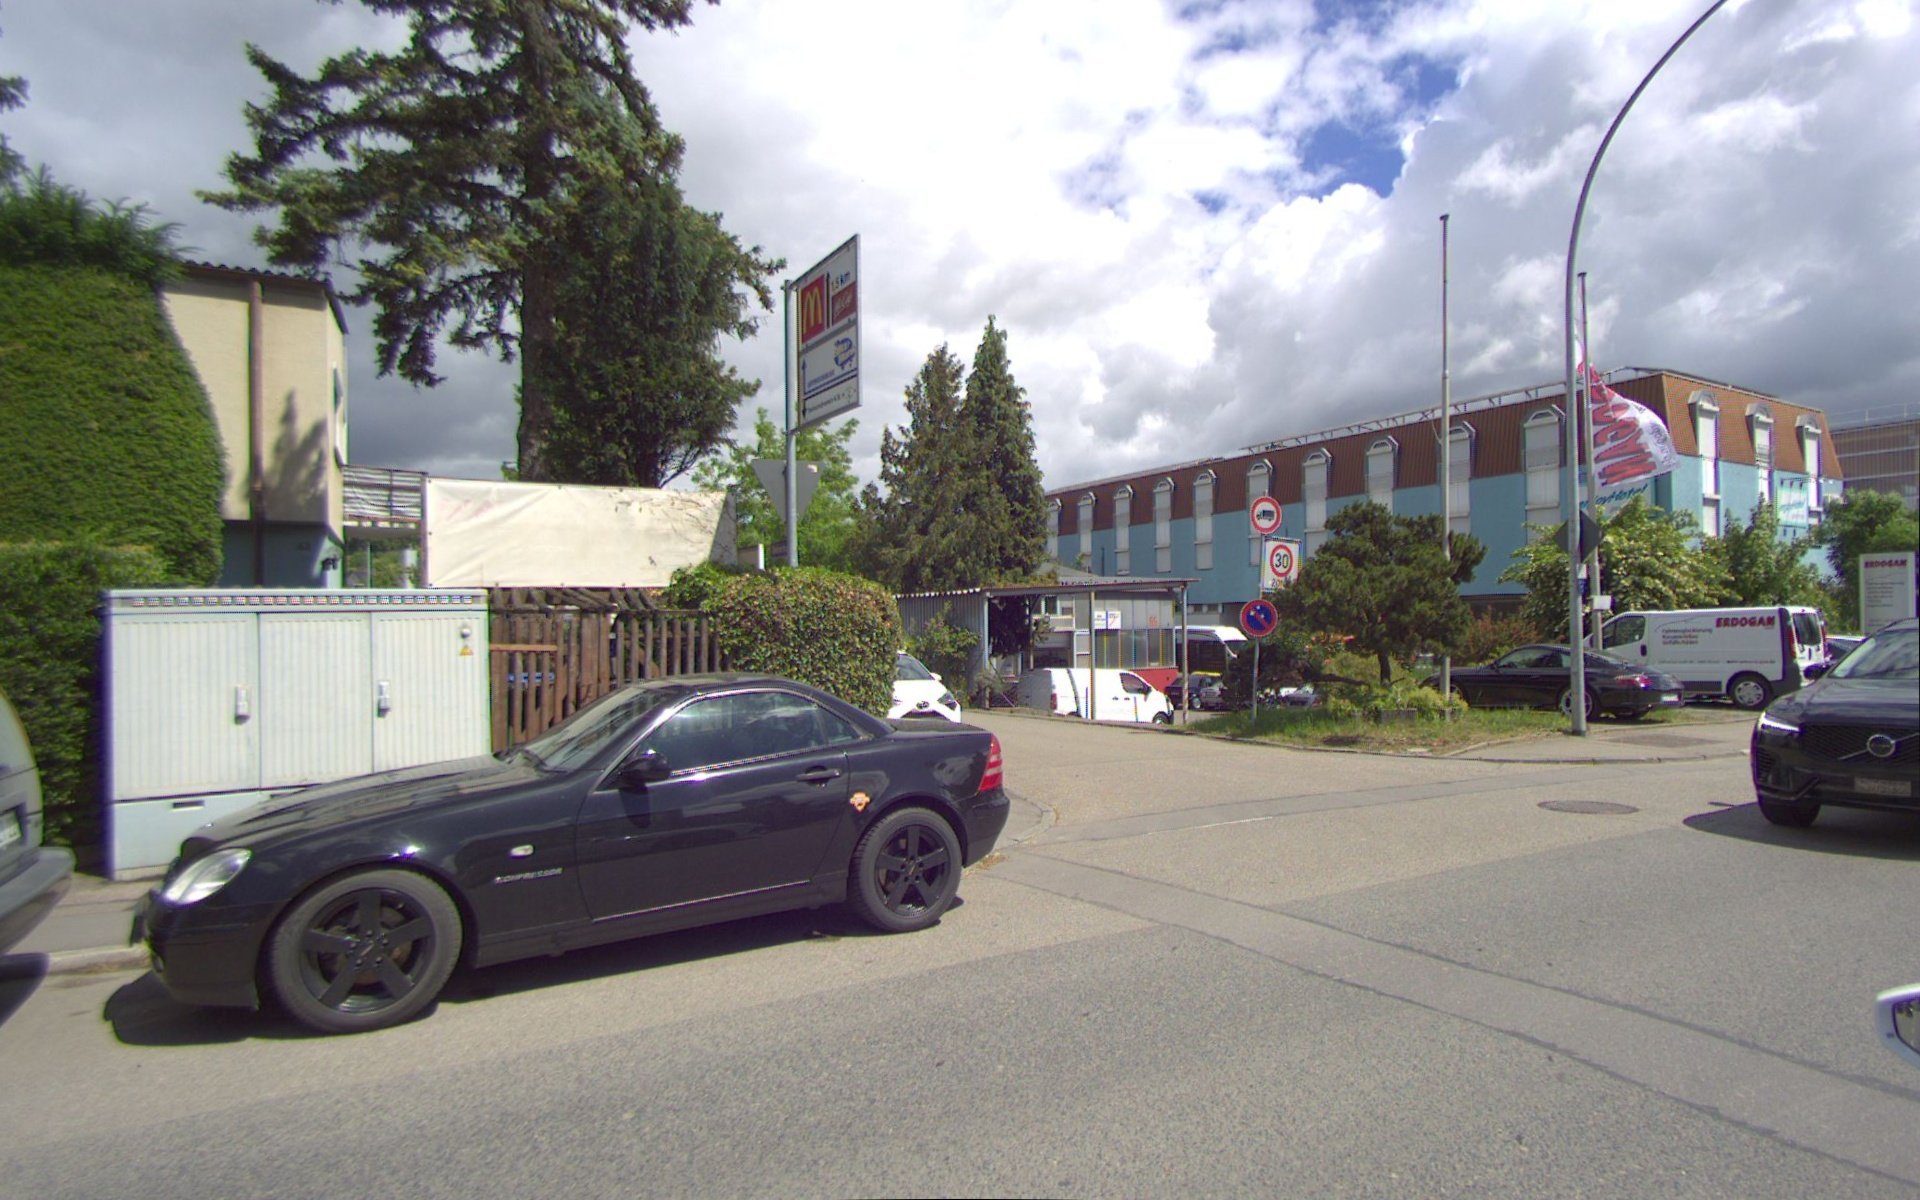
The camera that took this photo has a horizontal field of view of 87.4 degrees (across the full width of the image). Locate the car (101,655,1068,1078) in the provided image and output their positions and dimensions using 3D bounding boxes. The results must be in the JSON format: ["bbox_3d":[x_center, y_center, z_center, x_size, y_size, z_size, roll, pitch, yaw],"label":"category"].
[{"bbox_3d":[-1.560,1.000,5.134,4.072,1.320,1.622,1,-5,-33],"label":"car"}]

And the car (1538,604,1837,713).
[{"bbox_3d":[15.012,1.145,21.010,2.093,1.998,4.625,1,-2,-33],"label":"car"}]

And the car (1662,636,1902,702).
[{"bbox_3d":[19.187,1.542,23.643,1.848,1.373,3.972,1,-2,-27],"label":"car"}]

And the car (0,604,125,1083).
[{"bbox_3d":[-5.386,0.797,2.689,4.592,1.491,1.735,1,-5,-32],"label":"car"}]

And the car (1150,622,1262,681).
[{"bbox_3d":[12.223,2.511,50.319,2.253,2.580,5.440,1,1,-30],"label":"car"}]

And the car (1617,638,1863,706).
[{"bbox_3d":[17.254,1.543,22.418,1.850,1.332,3.967,2,-2,-31],"label":"car"}]

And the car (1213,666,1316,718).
[{"bbox_3d":[12.060,3.597,39.792,3.664,1.728,1.983,1,1,-32],"label":"car"}]

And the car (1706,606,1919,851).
[{"bbox_3d":[8.164,0.896,8.060,4.361,1.637,1.984,1,-3,-31],"label":"car"}]

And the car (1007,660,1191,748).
[{"bbox_3d":[3.911,2.812,28.041,4.969,2.041,1.983,1,1,-32],"label":"car"}]

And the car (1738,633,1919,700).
[{"bbox_3d":[21.884,1.578,24.412,1.849,1.498,4.355,2,-3,-29],"label":"car"}]

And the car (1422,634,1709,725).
[{"bbox_3d":[10.554,1.307,17.792,1.850,1.220,3.966,1,1,-31],"label":"car"}]

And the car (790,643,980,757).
[{"bbox_3d":[-1.260,1.464,15.346,1.593,1.496,3.540,1,-4,-28],"label":"car"}]
